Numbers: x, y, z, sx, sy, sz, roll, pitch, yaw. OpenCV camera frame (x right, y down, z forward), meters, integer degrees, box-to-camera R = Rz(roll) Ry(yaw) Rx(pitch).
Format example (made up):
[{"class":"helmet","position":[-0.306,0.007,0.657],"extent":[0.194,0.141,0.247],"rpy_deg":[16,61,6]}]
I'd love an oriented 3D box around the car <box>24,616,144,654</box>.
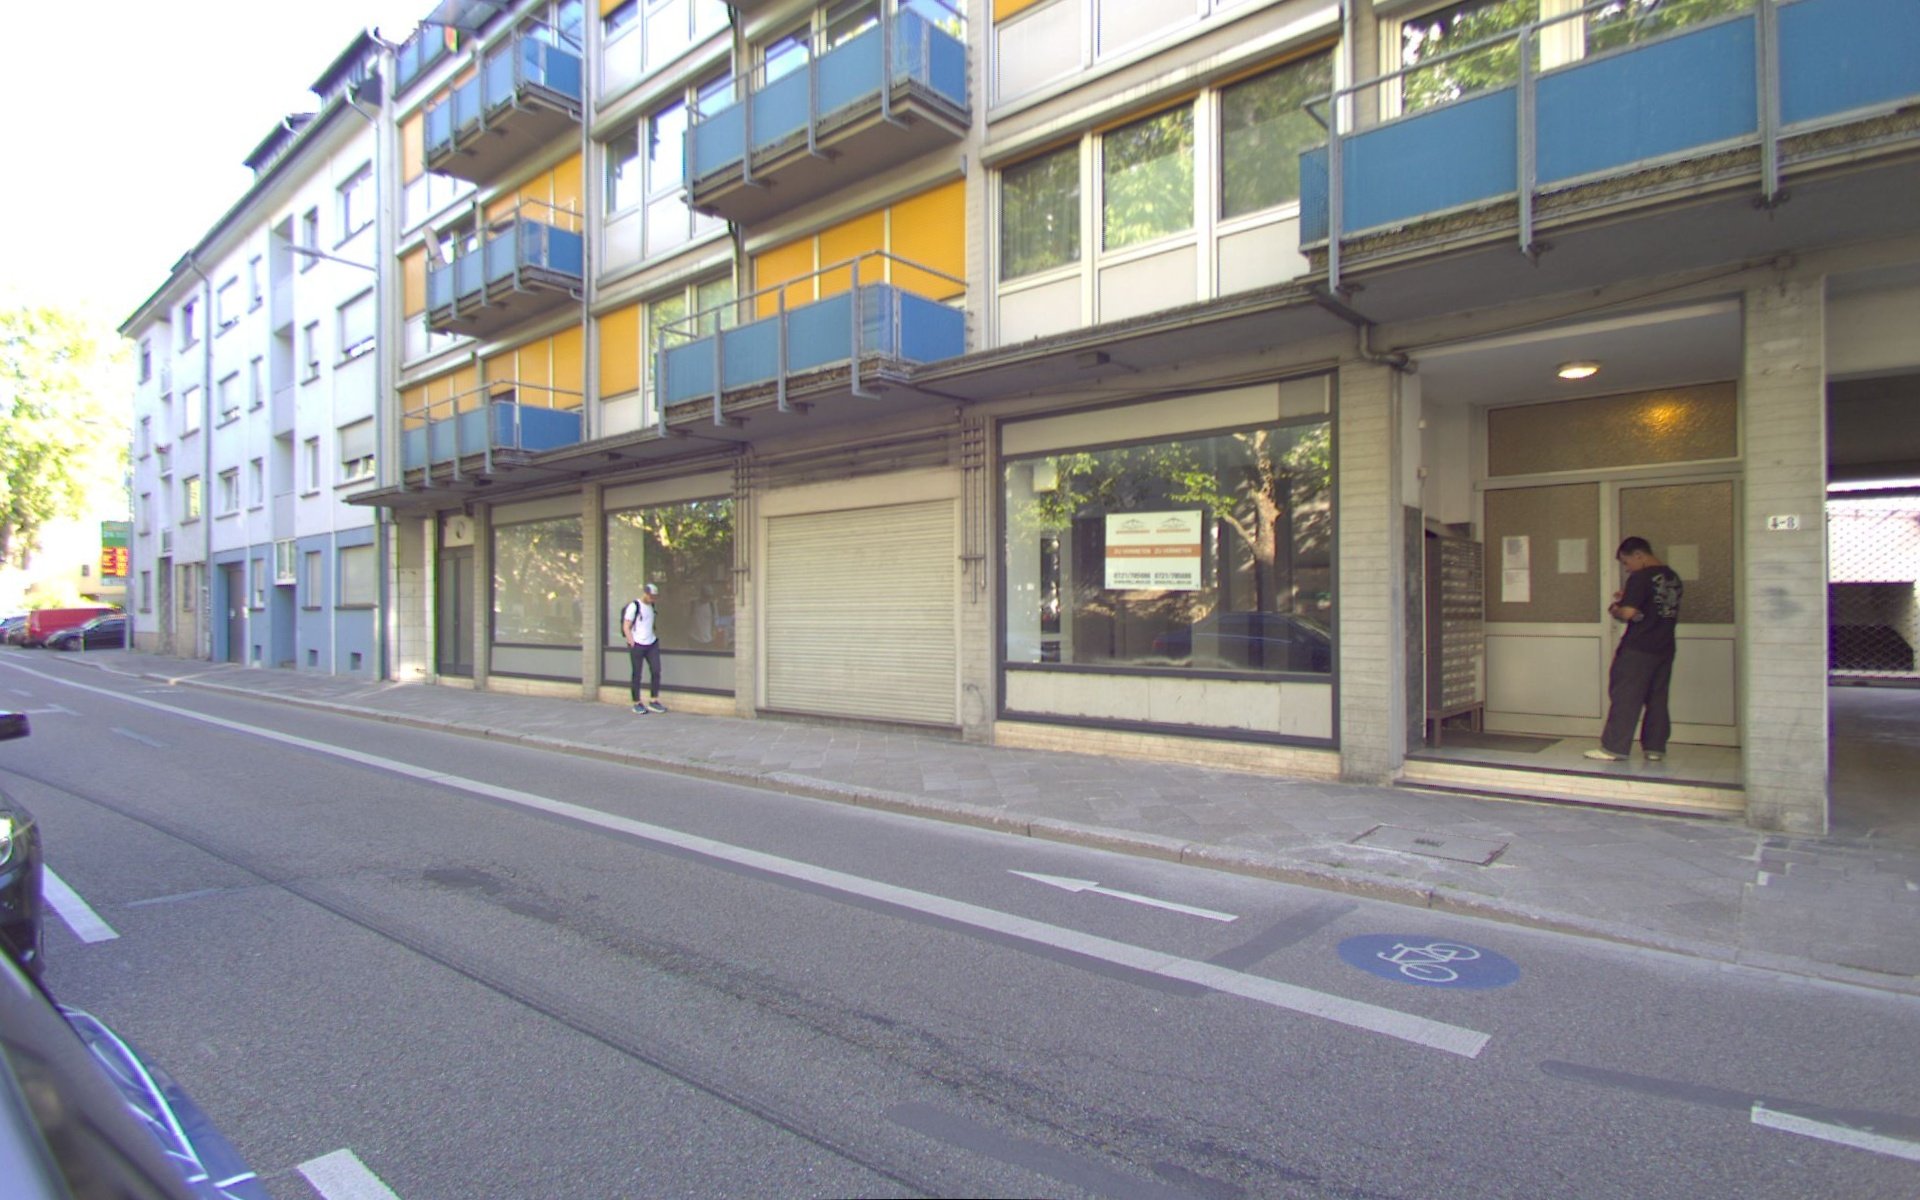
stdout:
[{"class":"car","position":[-41.629,1.617,48.159],"extent":[1.999,1.703,4.093],"rpy_deg":[-1,-1,41]}]

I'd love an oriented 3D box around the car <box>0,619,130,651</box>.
[{"class":"car","position":[-45.717,1.747,51.694],"extent":[1.999,1.506,4.927],"rpy_deg":[-1,-1,41]}]

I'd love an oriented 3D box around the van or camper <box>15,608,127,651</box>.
[{"class":"van or camper","position":[-43.885,1.427,50.002],"extent":[1.999,2.029,3.946],"rpy_deg":[-1,-1,40]}]

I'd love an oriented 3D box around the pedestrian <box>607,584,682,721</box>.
[{"class":"pedestrian","position":[-4.366,0.706,13.989],"extent":[0.879,1.813,0.593],"rpy_deg":[-1,0,43]}]

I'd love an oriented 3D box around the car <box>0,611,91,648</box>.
[{"class":"car","position":[-57.391,1.818,62.853],"extent":[1.999,2.210,4.927],"rpy_deg":[-1,-1,41]}]

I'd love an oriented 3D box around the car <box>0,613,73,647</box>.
[{"class":"car","position":[-62.302,1.981,67.217],"extent":[1.999,2.210,4.927],"rpy_deg":[-1,-1,41]}]

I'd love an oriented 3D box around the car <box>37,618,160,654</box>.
[{"class":"car","position":[-39.748,1.629,46.775],"extent":[1.999,1.506,4.093],"rpy_deg":[-1,-1,41]}]

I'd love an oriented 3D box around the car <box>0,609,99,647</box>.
[{"class":"car","position":[-55.398,1.668,61.143],"extent":[1.999,2.210,4.927],"rpy_deg":[-1,-1,41]}]

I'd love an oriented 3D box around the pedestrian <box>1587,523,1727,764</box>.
[{"class":"pedestrian","position":[5.237,0.312,7.625],"extent":[0.650,1.726,0.550],"rpy_deg":[0,-1,-16]}]

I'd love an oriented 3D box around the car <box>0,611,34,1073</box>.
[{"class":"car","position":[-5.025,0.799,3.870],"extent":[3.861,1.467,1.718],"rpy_deg":[-1,-1,40]}]

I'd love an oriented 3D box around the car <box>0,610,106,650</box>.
[{"class":"car","position":[-53.311,1.732,59.193],"extent":[1.999,2.210,4.927],"rpy_deg":[-1,-1,41]}]
